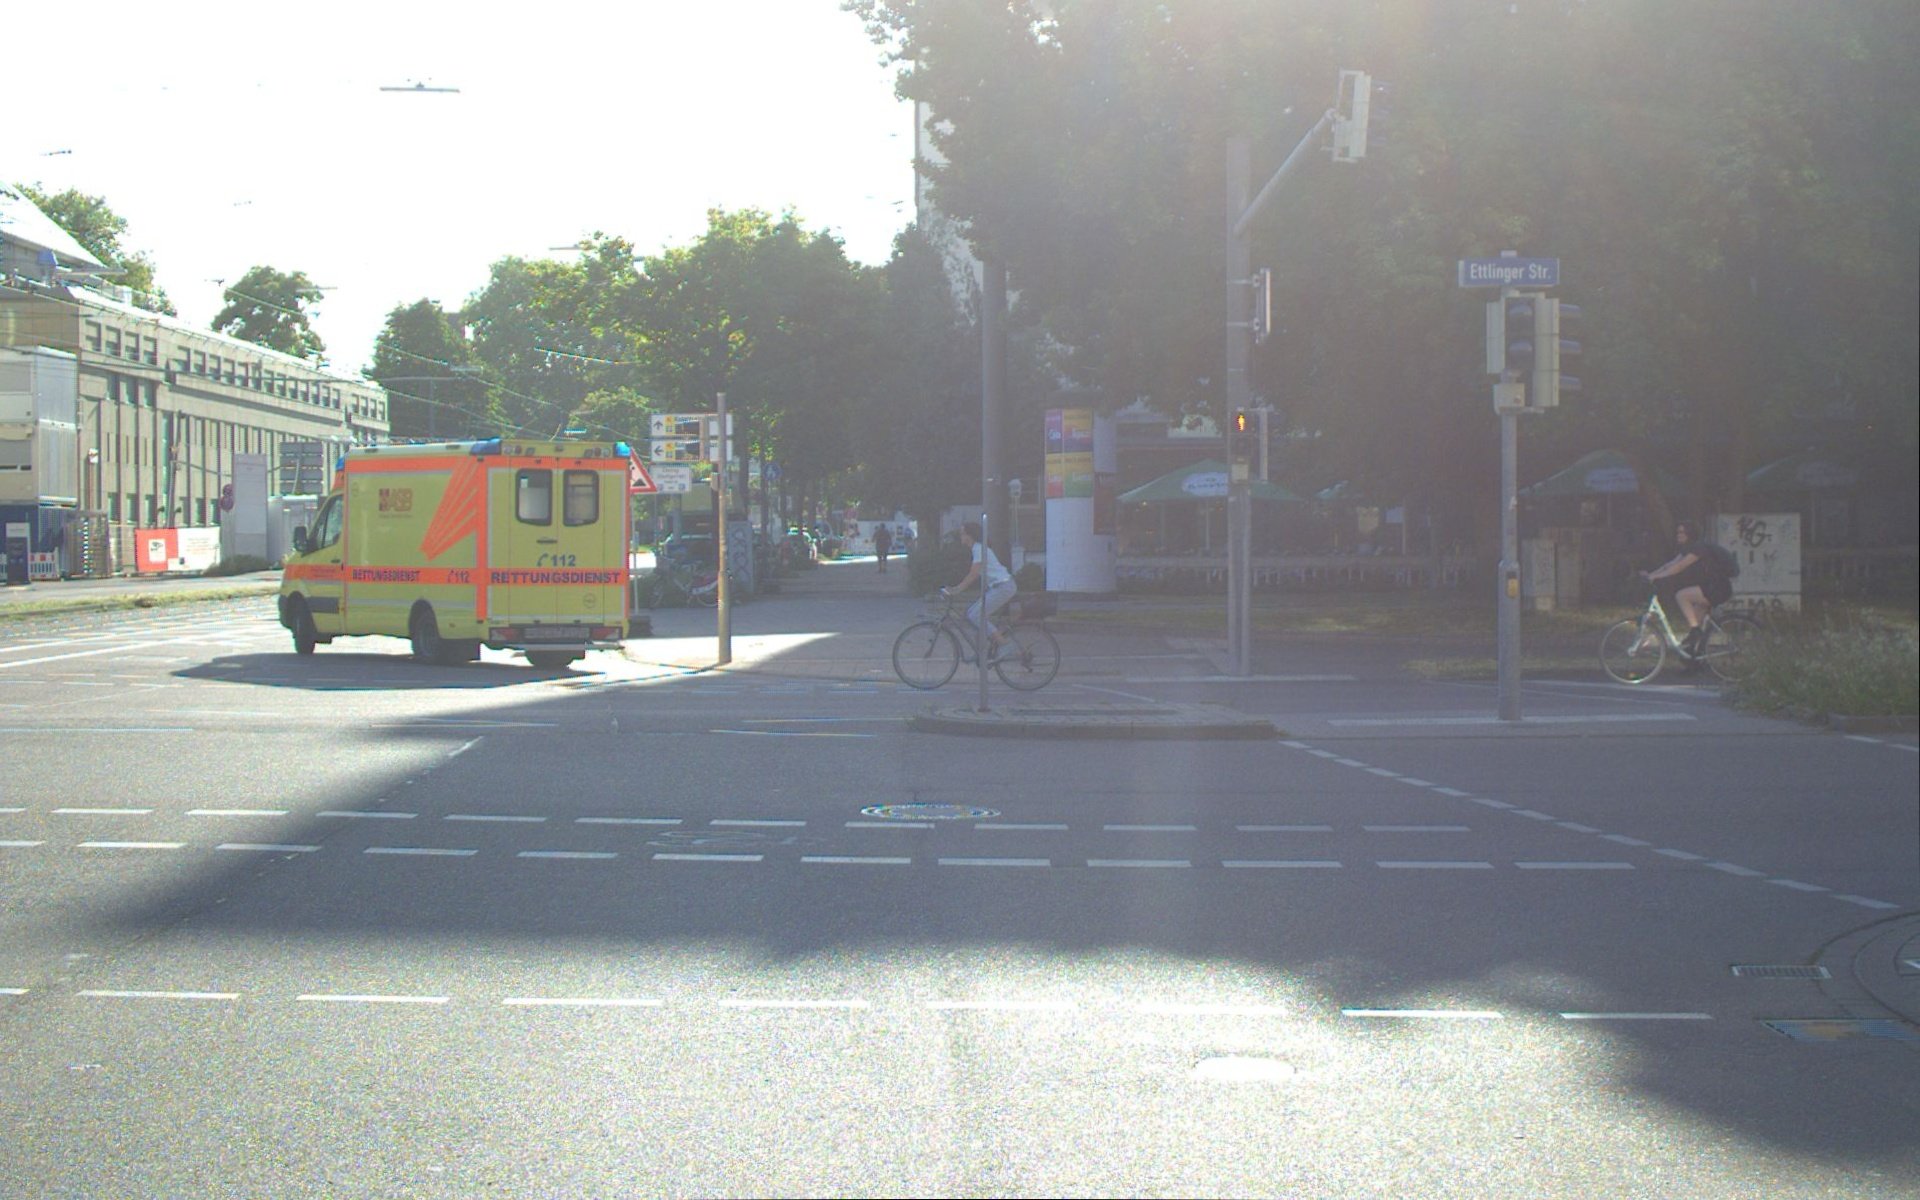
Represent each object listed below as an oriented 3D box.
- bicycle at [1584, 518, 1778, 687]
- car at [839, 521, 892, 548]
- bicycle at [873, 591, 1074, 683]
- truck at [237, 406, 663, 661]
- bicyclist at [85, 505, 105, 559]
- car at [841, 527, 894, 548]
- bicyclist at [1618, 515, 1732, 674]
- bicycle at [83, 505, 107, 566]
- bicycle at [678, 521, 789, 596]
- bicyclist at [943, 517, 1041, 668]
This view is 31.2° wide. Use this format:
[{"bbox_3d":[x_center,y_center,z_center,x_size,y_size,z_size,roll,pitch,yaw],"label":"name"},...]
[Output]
[{"bbox_3d":[7.488,0.023,35.752,1.897,1.729,0.597,0,1,2],"label":"bicycle"},{"bbox_3d":[-5.893,-4.062,213.394,3.214,1.583,1.446,1,0,-4],"label":"car"},{"bbox_3d":[0.134,0.384,35.923,2.064,0.930,0.575,-1,1,-3],"label":"bicycle"},{"bbox_3d":[-6.618,-0.838,43.863,2.717,3.005,6.488,-1,1,-35],"label":"truck"},{"bbox_3d":[-32.737,-2.566,130.138,0.571,2.017,0.762,0,1,-2],"label":"bicyclist"},{"bbox_3d":[-5.665,-3.837,211.247,3.217,1.259,1.373,1,0,-1],"label":"car"},{"bbox_3d":[7.431,-0.061,35.749,1.074,1.635,0.597,0,1,2],"label":"bicyclist"},{"bbox_3d":[-32.737,-2.449,130.161,0.571,2.288,1.422,0,1,-2],"label":"bicycle"},{"bbox_3d":[-5.347,-0.977,81.380,2.547,1.737,1.037,1,0,0],"label":"bicycle"},{"bbox_3d":[0.331,-0.086,35.938,0.974,1.555,0.575,-1,1,-3],"label":"bicyclist"}]
